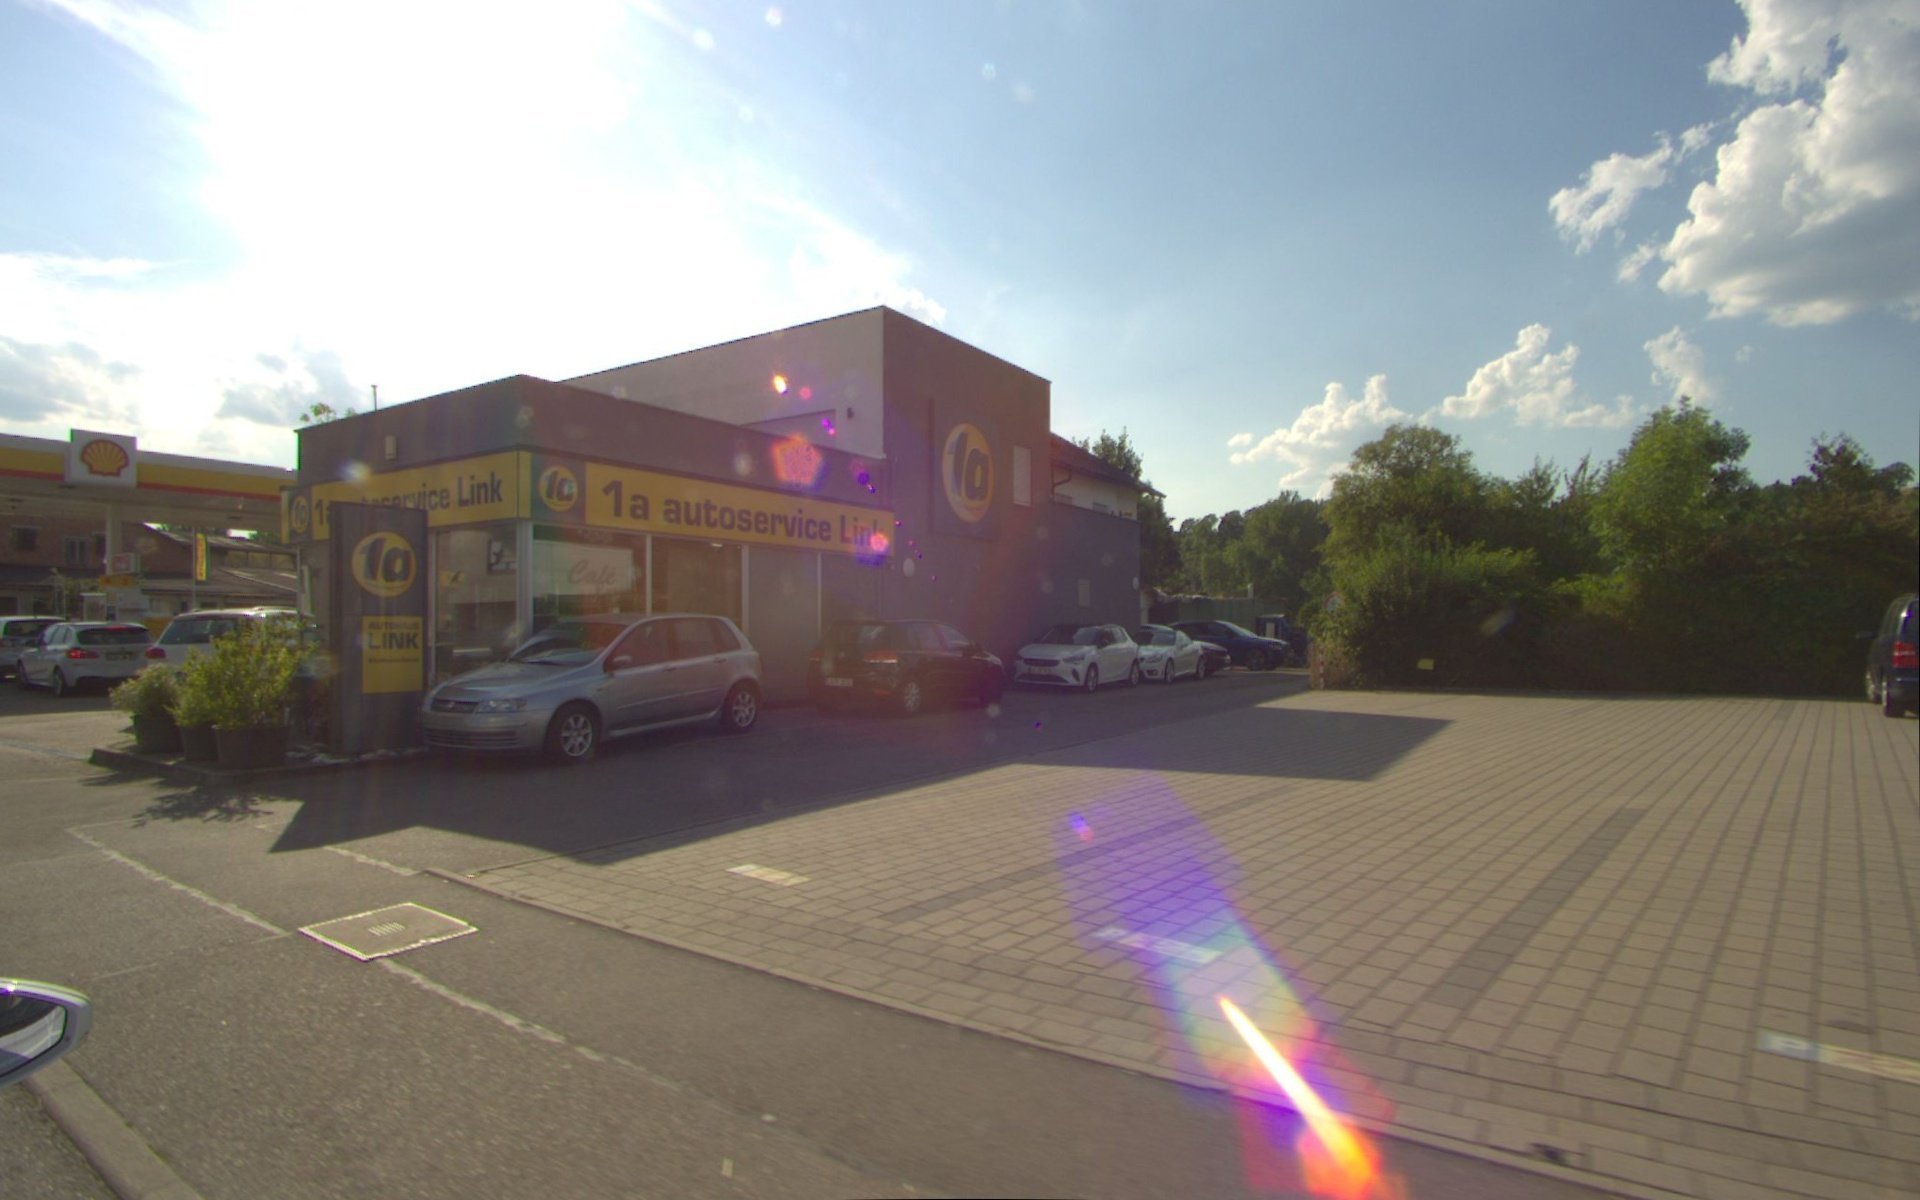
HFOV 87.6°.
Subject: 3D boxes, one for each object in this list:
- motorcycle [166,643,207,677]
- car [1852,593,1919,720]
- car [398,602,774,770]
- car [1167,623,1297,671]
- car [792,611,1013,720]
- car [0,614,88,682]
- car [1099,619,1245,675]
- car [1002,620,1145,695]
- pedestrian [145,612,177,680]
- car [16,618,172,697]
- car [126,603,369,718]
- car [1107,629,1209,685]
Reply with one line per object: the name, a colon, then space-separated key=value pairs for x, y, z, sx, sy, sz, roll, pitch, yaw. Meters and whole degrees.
motorcycle: x=-21.139 y=1.630 z=27.356 sx=1.788 sy=0.885 sz=0.392 roll=-1 pitch=-1 yaw=36
car: x=13.711 y=0.730 z=13.823 sx=1.619 sy=1.615 sz=3.622 roll=-3 pitch=-3 yaw=35
car: x=-3.988 y=0.840 z=11.351 sx=1.504 sy=1.551 sz=3.983 roll=-1 pitch=-1 yaw=29
car: x=9.131 y=1.545 z=33.727 sx=3.921 sy=1.417 sz=1.660 roll=1 pitch=0 yaw=31
car: x=-0.792 y=0.976 z=16.204 sx=1.691 sy=1.487 sz=3.900 roll=1 pitch=-1 yaw=30
car: x=-23.780 y=1.145 z=25.328 sx=3.943 sy=1.598 sz=1.668 roll=0 pitch=-1 yaw=34
car: x=6.061 y=1.319 z=28.767 sx=3.755 sy=1.417 sz=1.660 roll=1 pitch=0 yaw=31
car: x=2.587 y=1.200 z=22.019 sx=1.691 sy=1.427 sz=3.900 roll=1 pitch=-1 yaw=30
pedestrian: x=-20.091 y=1.150 z=25.178 sx=0.527 sy=1.691 sz=0.499 roll=-1 pitch=-1 yaw=34
car: x=-19.299 y=1.211 z=22.267 sx=3.943 sy=1.598 sz=1.668 roll=0 pitch=-1 yaw=34
car: x=-11.871 y=0.912 z=17.056 sx=1.645 sy=1.696 sz=4.075 roll=-1 pitch=0 yaw=-8
car: x=5.119 y=1.407 z=25.533 sx=1.378 sy=1.278 sz=3.751 roll=1 pitch=-1 yaw=30
